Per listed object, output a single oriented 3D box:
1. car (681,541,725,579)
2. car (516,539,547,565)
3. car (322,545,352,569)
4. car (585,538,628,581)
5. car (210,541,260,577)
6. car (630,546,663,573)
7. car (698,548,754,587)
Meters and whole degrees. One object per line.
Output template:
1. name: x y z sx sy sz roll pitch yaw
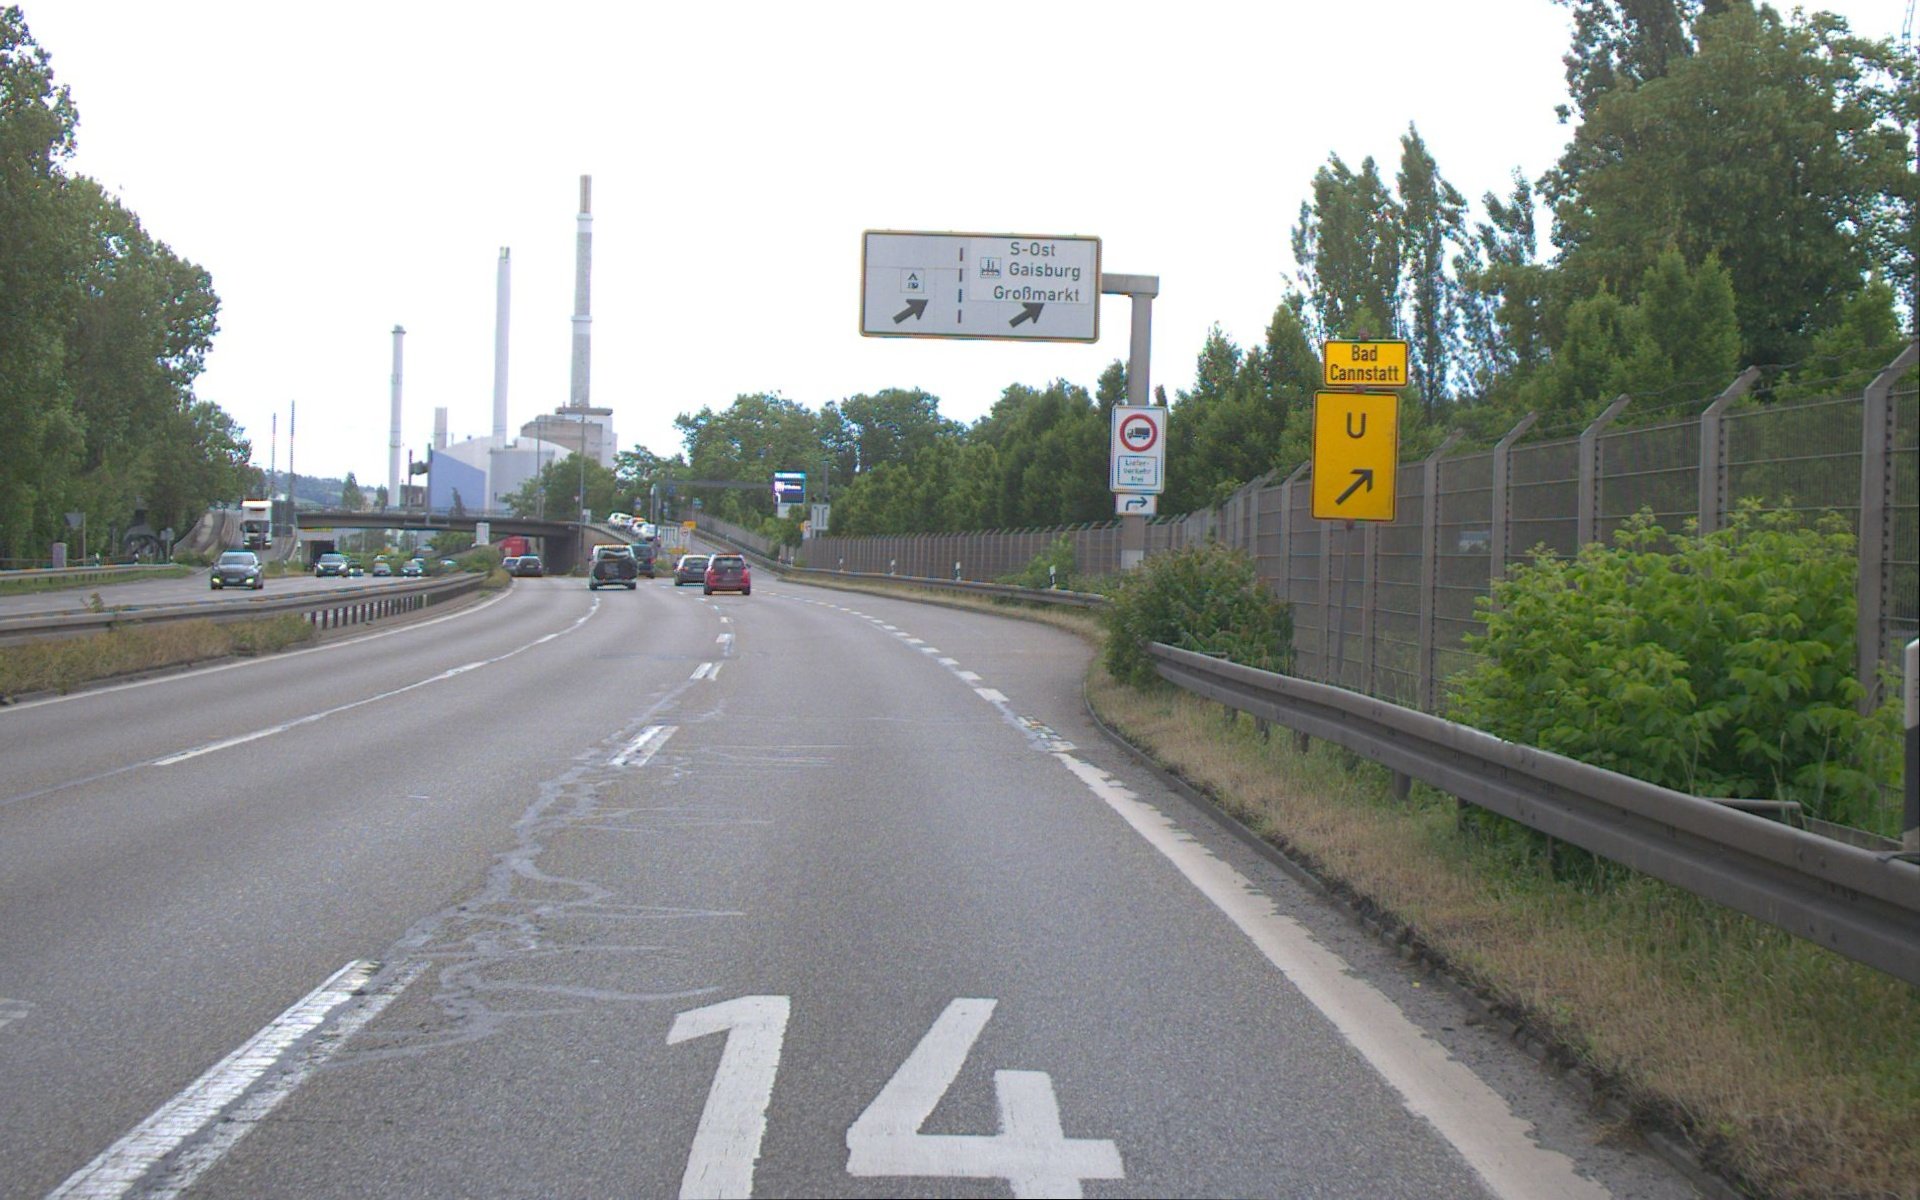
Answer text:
1. car: -11.907 -1.866 159.234 1.697 1.736 4.394 0 1 -8
2. car: -28.860 -3.259 231.551 1.697 1.736 4.394 0 1 -12
3. car: -38.295 -2.657 211.386 1.697 1.408 4.639 0 1 -9
4. car: -14.923 -1.713 144.876 1.697 1.736 4.001 0 1 -7
5. car: -29.096 -1.673 138.041 1.697 1.408 4.639 0 1 -8
6. car: -18.310 -2.364 200.680 1.697 1.550 4.399 0 1 -7
7. car: -8.945 -1.240 131.120 1.974 1.418 4.901 0 1 -5
